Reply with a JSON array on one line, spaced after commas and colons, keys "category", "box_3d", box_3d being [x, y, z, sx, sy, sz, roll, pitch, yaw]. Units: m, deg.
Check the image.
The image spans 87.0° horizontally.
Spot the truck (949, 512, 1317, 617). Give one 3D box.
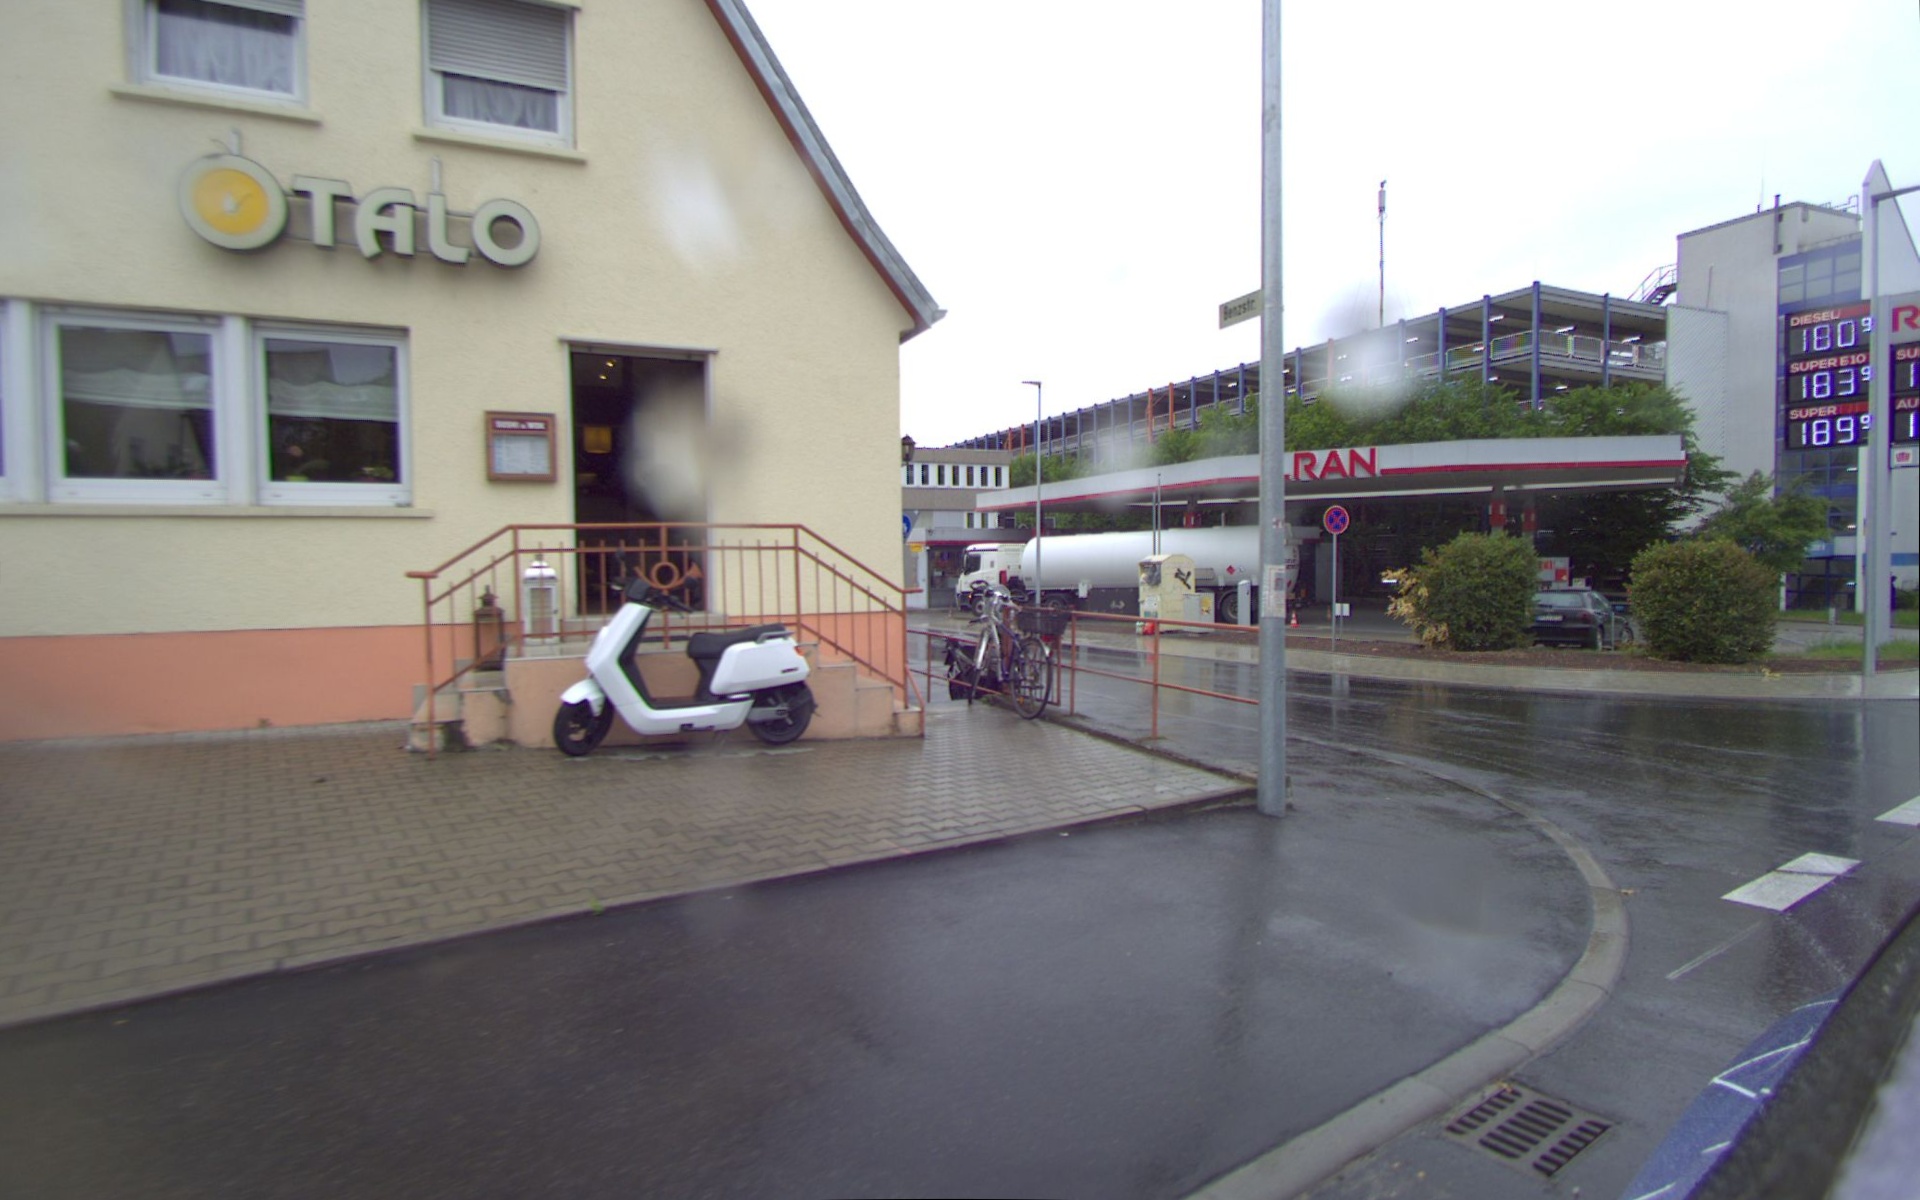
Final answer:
[{"category": "truck", "box_3d": [5.941, -1.176, 38.414, 14.340, 3.402, 2.610, 0, -1, 39]}]

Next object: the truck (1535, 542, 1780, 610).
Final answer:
[{"category": "truck", "box_3d": [26.083, -0.986, 38.207, 2.049, 2.234, 7.291, 2, 1, -41]}]

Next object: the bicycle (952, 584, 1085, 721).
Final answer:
[{"category": "bicycle", "box_3d": [0.478, 0.412, 9.090, 0.479, 1.109, 1.779, 0, 1, -22]}]

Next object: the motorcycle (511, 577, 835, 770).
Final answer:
[{"category": "motorcycle", "box_3d": [-1.807, 0.419, 6.555, 1.961, 1.109, 0.489, 0, 0, -32]}]

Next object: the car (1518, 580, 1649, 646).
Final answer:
[{"category": "car", "box_3d": [14.440, 0.231, 23.338, 1.689, 1.356, 4.271, 1, 2, 44]}]

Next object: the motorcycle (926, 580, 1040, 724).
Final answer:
[{"category": "motorcycle", "box_3d": [0.215, 0.517, 11.489, 0.479, 1.474, 2.043, -1, 1, -23]}]
